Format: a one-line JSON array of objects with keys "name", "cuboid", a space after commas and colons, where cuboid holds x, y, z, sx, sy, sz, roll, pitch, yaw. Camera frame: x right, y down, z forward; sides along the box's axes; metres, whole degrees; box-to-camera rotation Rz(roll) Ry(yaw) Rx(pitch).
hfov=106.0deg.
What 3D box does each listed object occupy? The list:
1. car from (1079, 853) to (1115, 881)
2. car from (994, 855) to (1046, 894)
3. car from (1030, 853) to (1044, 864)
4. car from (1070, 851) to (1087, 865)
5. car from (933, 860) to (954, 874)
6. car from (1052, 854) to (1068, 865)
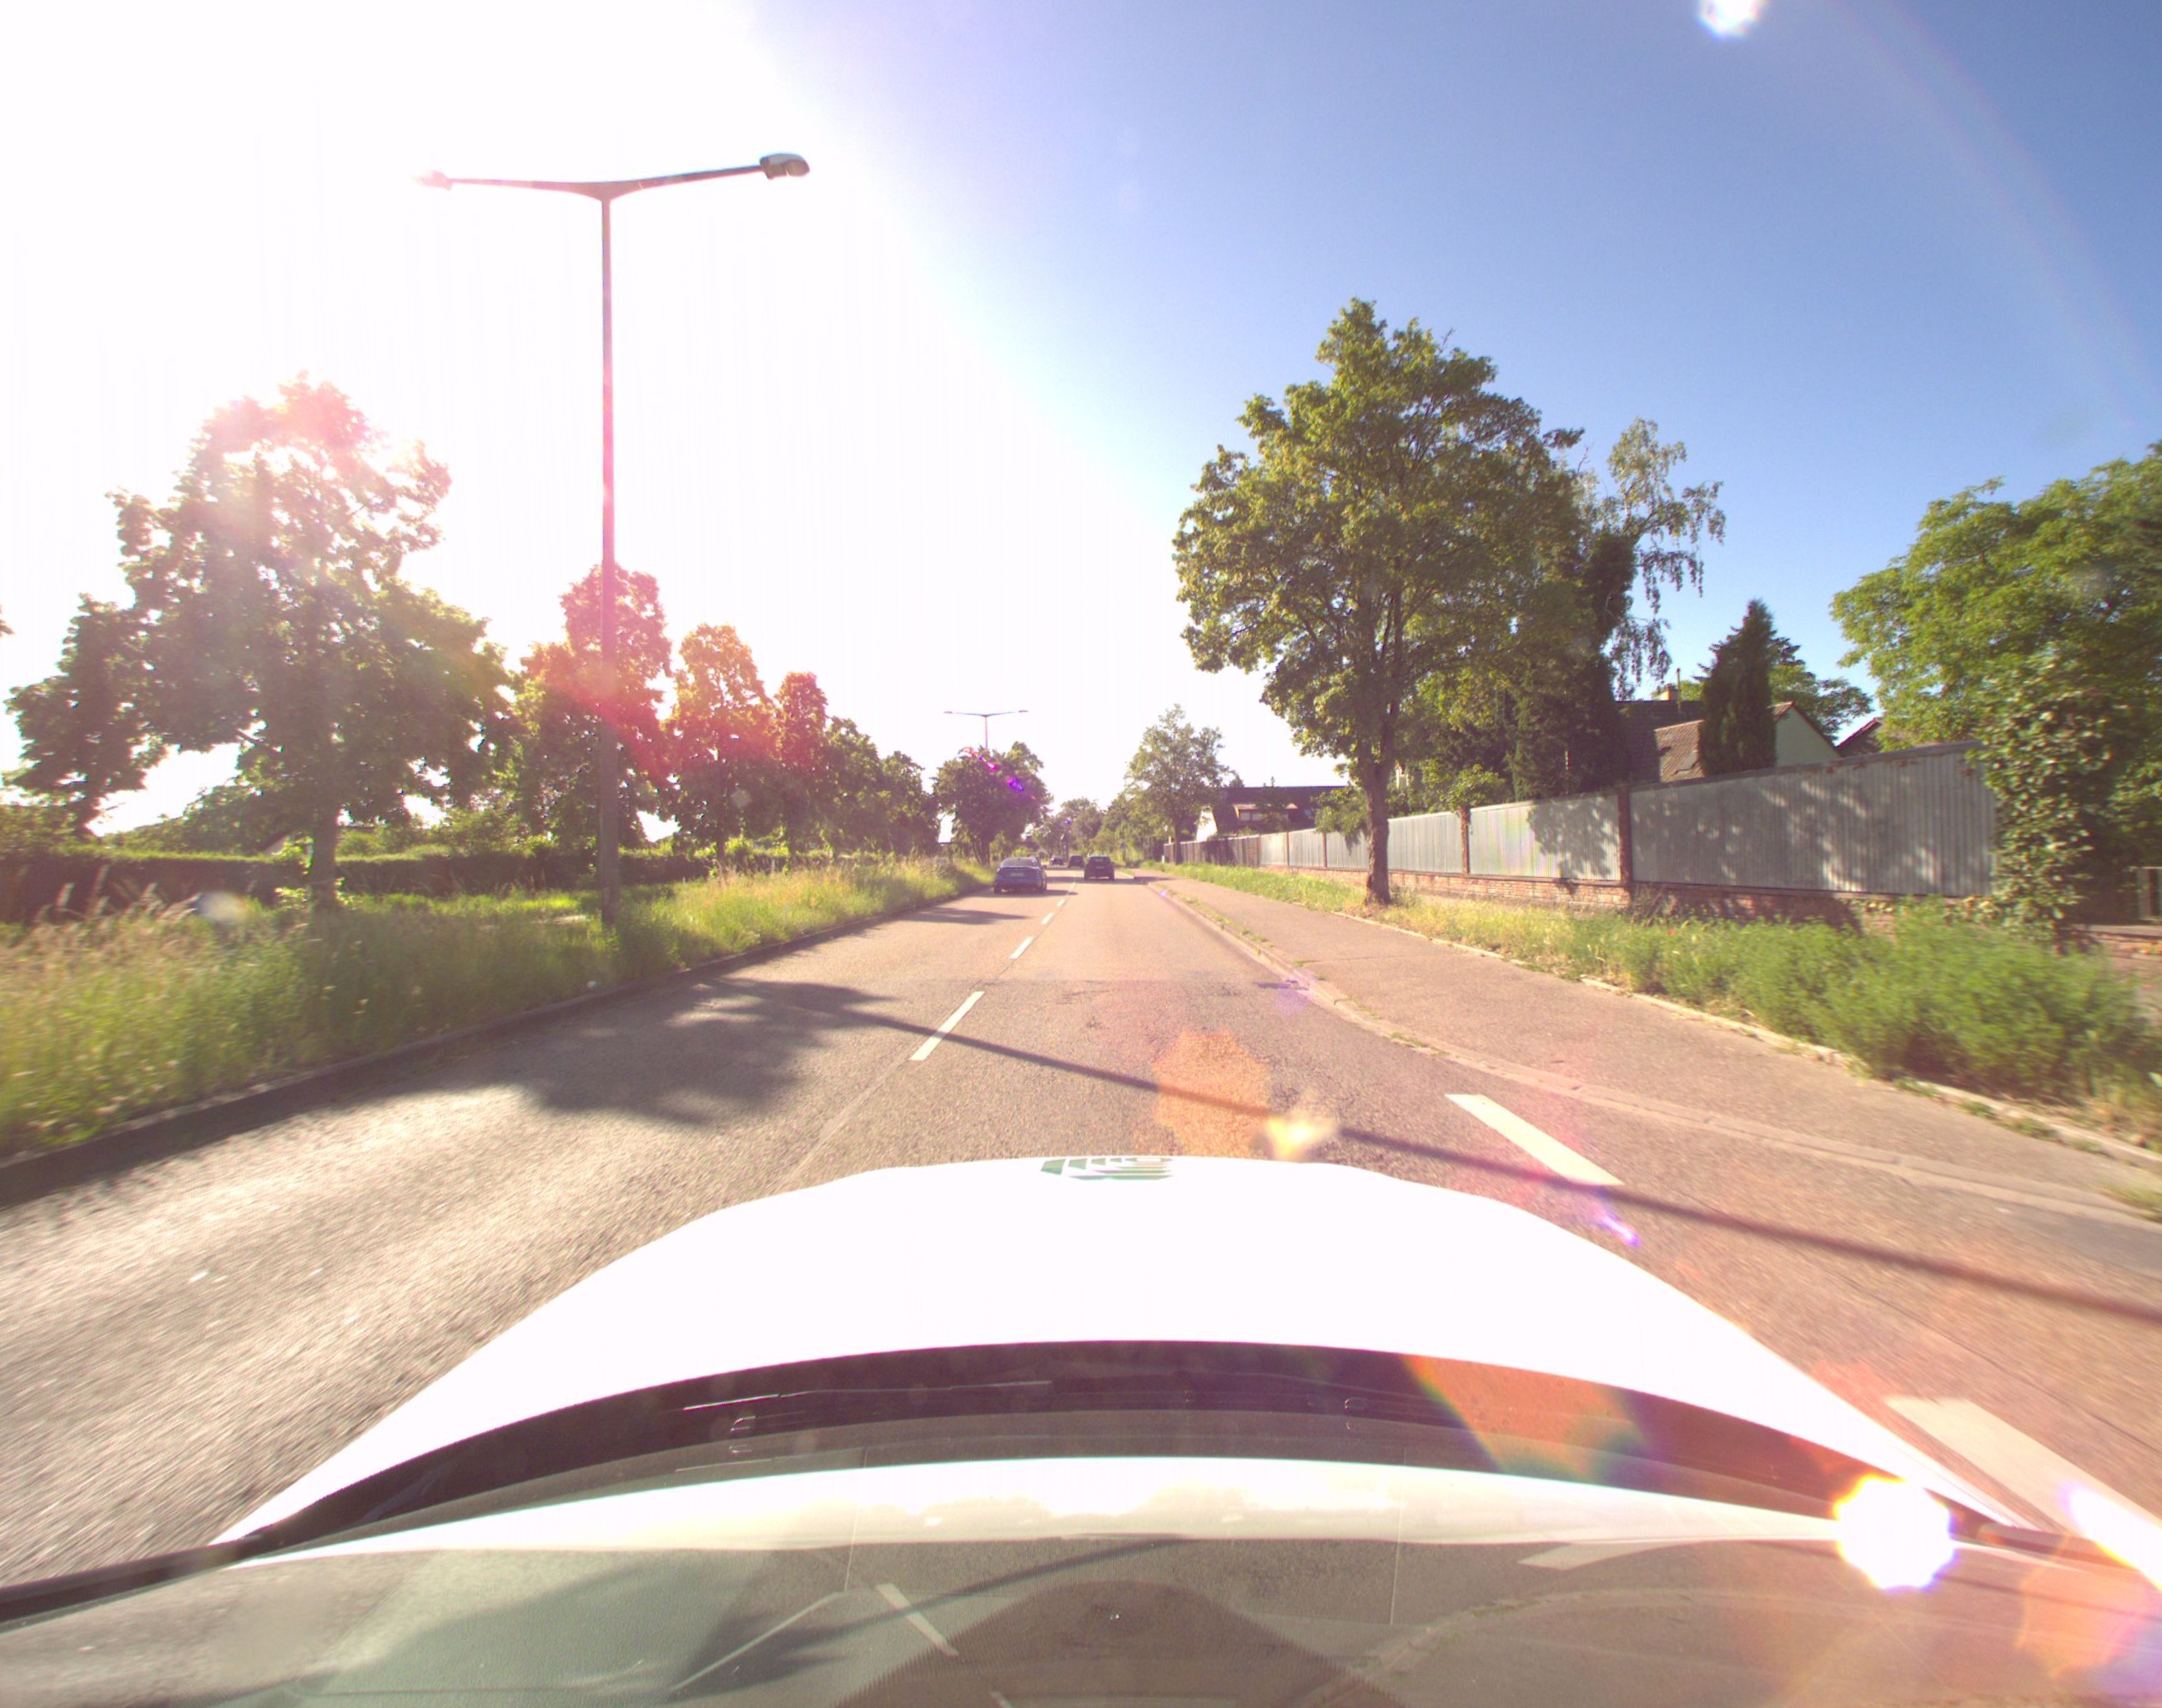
[{"name": "car", "cuboid": [0.888, 0.749, 48.753, 1.910, 1.579, 4.179, -1, 0, -2]}, {"name": "car", "cuboid": [-2.383, 0.808, 32.674, 1.833, 1.474, 4.182, 0, -1, -1]}, {"name": "car", "cuboid": [-6.345, 0.629, 116.684, 1.910, 1.512, 4.064, -1, 0, -2]}, {"name": "car", "cuboid": [-0.312, 0.487, 95.996, 1.910, 1.579, 4.180, 0, 0, -1]}, {"name": "car", "cuboid": [-16.382, 1.515, 97.303, 1.664, 1.467, 4.178, -3, 0, 0]}, {"name": "car", "cuboid": [-3.109, 0.784, 120.117, 1.915, 1.678, 4.000, 0, 0, -9]}]
